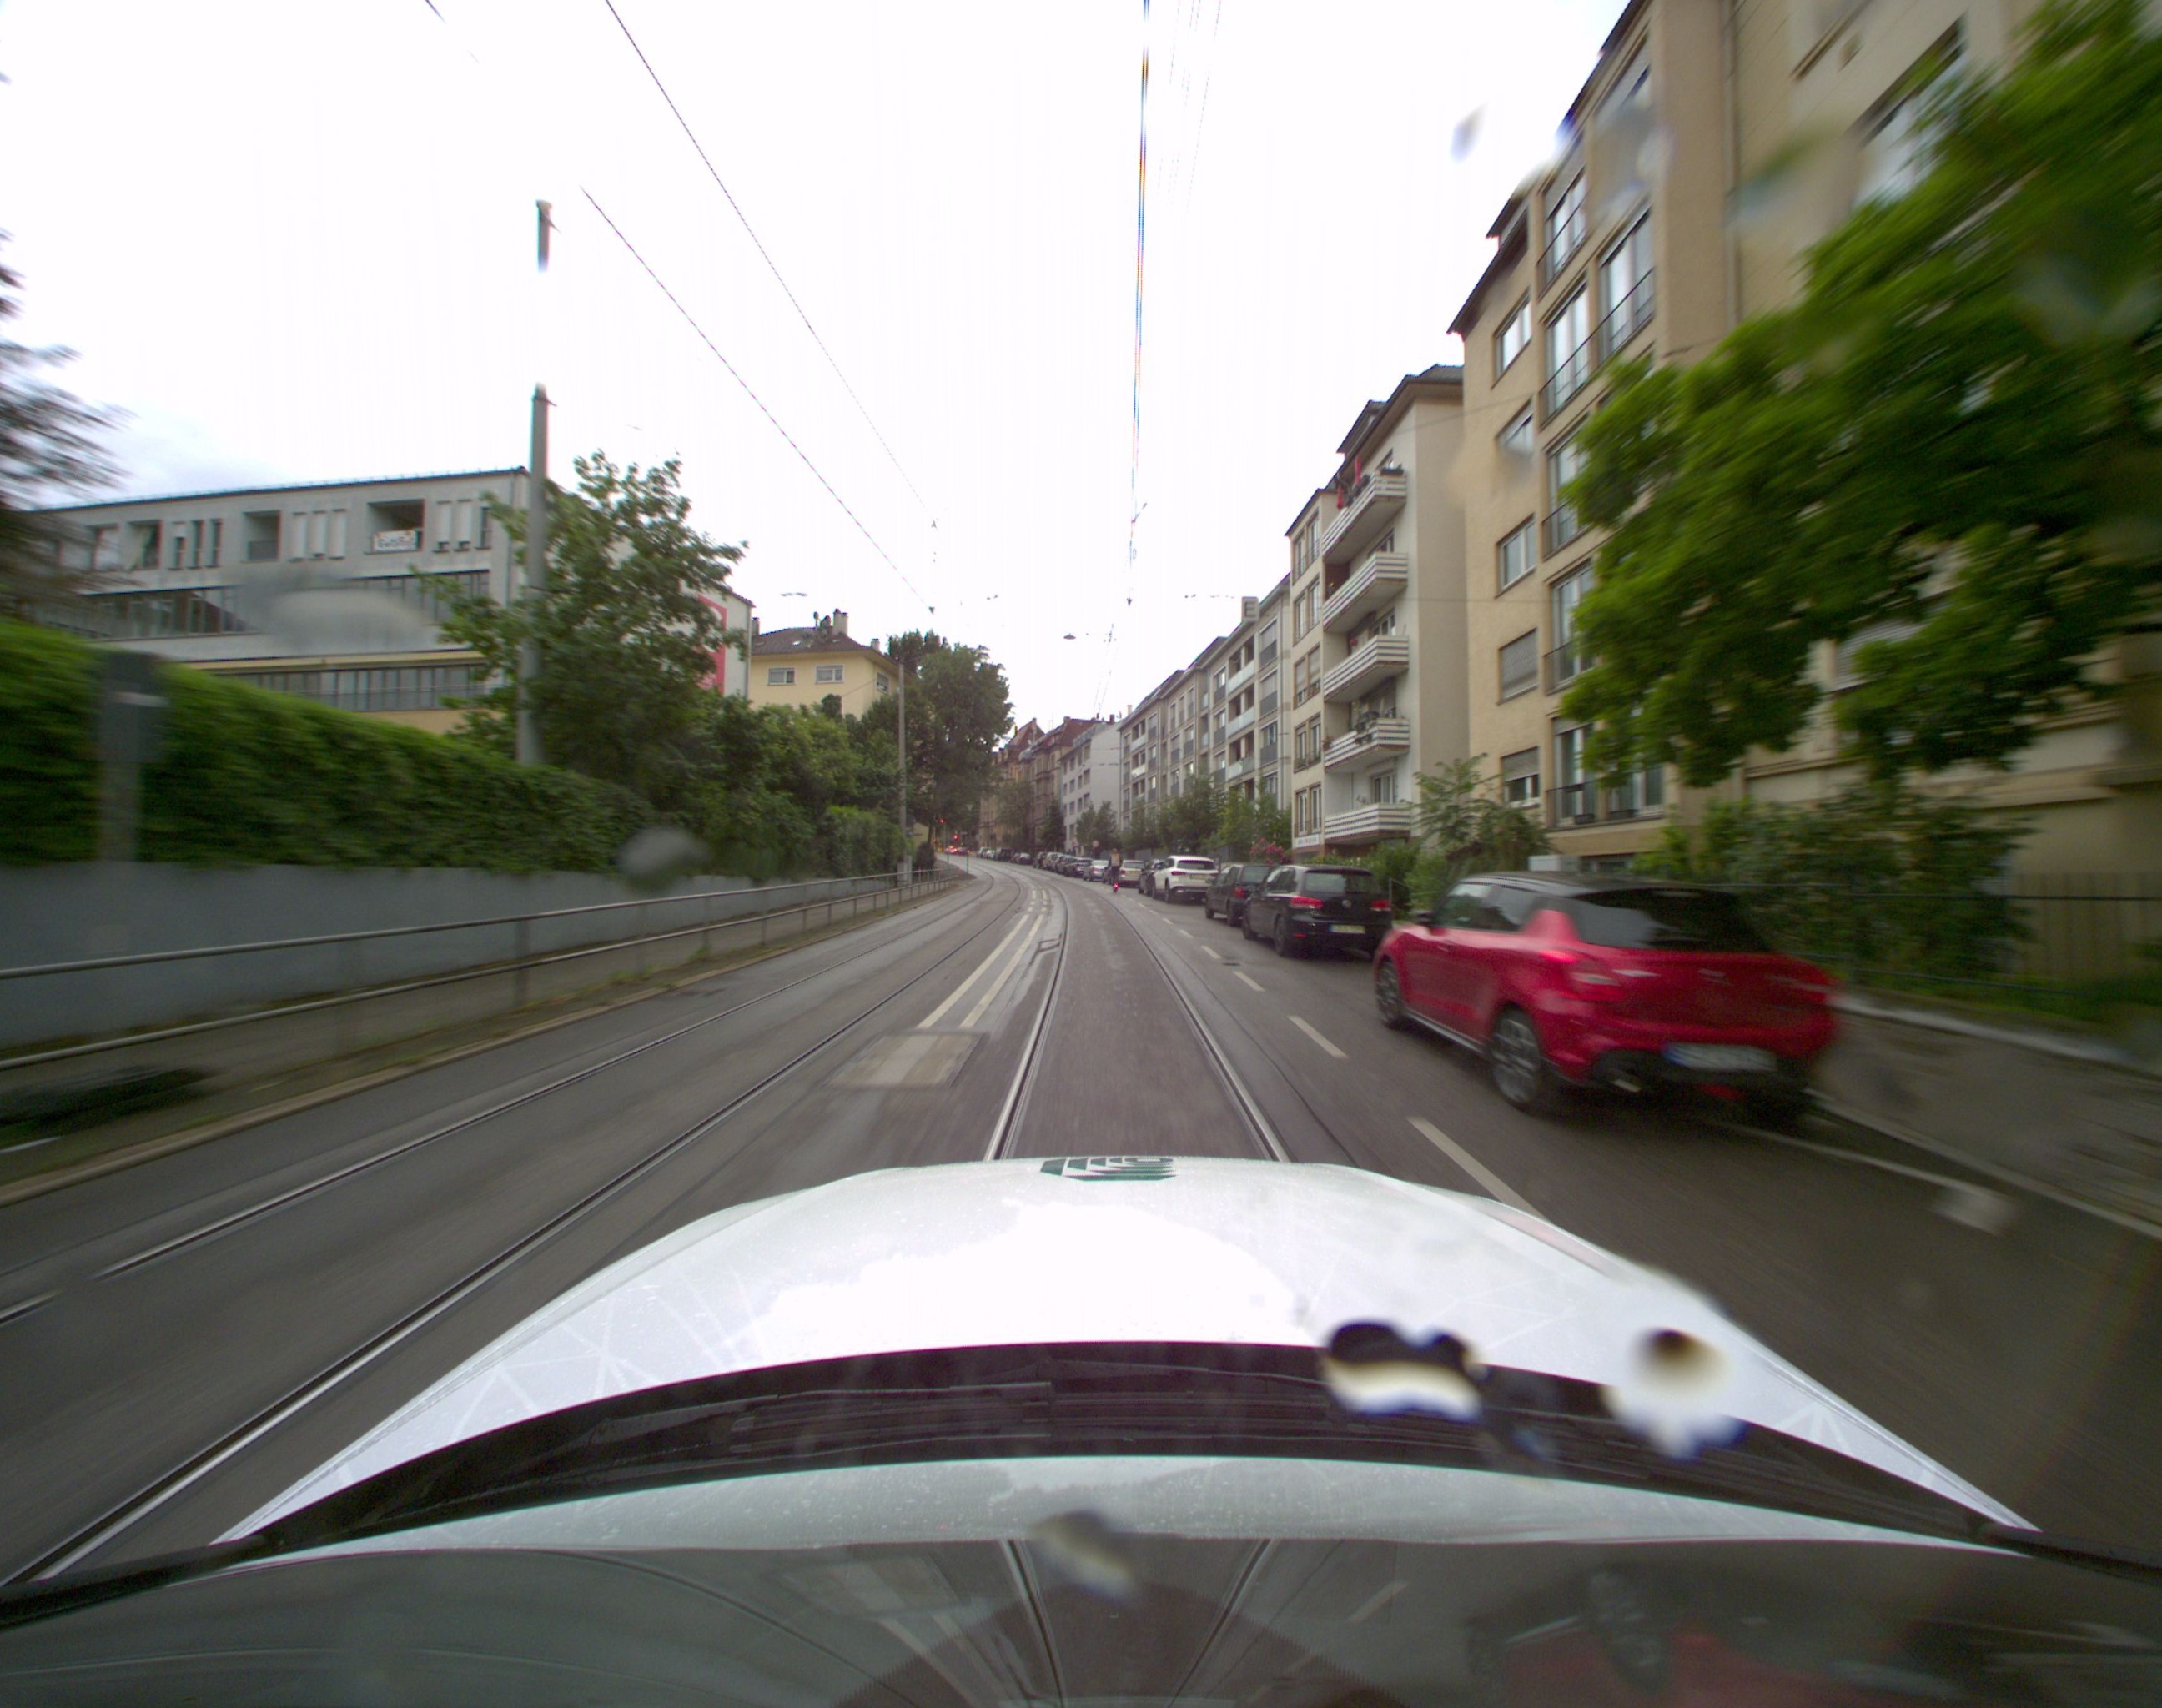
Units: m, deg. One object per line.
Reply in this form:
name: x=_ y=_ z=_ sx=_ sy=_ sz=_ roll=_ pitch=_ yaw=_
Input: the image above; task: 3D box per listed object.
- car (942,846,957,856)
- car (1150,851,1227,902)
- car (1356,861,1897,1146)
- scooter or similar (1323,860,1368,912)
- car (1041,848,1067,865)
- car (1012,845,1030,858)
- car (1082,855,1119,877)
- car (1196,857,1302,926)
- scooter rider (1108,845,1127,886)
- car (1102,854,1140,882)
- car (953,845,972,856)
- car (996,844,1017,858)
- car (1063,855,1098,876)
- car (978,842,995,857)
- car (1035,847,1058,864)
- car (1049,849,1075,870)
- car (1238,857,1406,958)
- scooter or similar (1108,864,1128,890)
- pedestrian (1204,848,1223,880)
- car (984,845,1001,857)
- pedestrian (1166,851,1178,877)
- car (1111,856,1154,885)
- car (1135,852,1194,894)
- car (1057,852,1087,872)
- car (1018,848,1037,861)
car: x=-24.219 y=-0.541 z=149.998 sx=1.862 sy=1.734 sz=4.113 roll=2 pitch=0 yaw=-19
car: x=3.690 y=0.726 z=28.720 sx=1.834 sy=1.573 sz=4.242 roll=2 pitch=0 yaw=-4
car: x=3.563 y=0.811 z=6.282 sx=1.715 sy=1.437 sz=3.843 roll=1 pitch=0 yaw=2
scooter or similar: x=6.668 y=0.784 z=20.586 sx=0.470 sy=1.234 sz=1.192 roll=-2 pitch=1 yaw=-17
car: x=-2.805 y=0.241 z=83.684 sx=1.768 sy=1.684 sz=4.229 roll=2 pitch=0 yaw=-13
car: x=-7.879 y=-0.324 z=106.668 sx=1.652 sy=1.536 sz=3.871 roll=-2 pitch=2 yaw=-14
car: x=1.295 y=0.785 z=56.609 sx=1.761 sy=1.435 sz=4.625 roll=0 pitch=0 yaw=-9
car: x=3.983 y=0.841 z=20.016 sx=1.552 sy=1.437 sz=4.300 roll=1 pitch=0 yaw=-2
scooter rider: x=1.555 y=0.486 z=34.939 sx=0.622 sy=1.705 sz=0.842 roll=3 pitch=0 yaw=-8
car: x=2.381 y=0.820 z=49.396 sx=1.700 sy=1.512 sz=3.705 roll=2 pitch=0 yaw=-7
car: x=-21.122 y=-0.602 z=144.913 sx=2.039 sy=1.734 sz=4.104 roll=1 pitch=0 yaw=-27
car: x=-10.584 y=-0.463 z=115.648 sx=2.032 sy=1.824 sz=4.344 roll=2 pitch=0 yaw=-16
car: x=-0.068 y=0.889 z=66.196 sx=1.770 sy=1.615 sz=4.226 roll=0 pitch=0 yaw=-15
car: x=-15.308 y=-0.767 z=131.504 sx=2.032 sy=2.218 sz=4.117 roll=2 pitch=0 yaw=-16
car: x=-3.788 y=0.142 z=88.274 sx=1.768 sy=1.684 sz=4.230 roll=2 pitch=0 yaw=-12
car: x=-1.848 y=0.504 z=77.600 sx=1.767 sy=1.787 sz=4.233 roll=2 pitch=0 yaw=-11
car: x=3.957 y=0.803 z=14.090 sx=1.678 sy=1.437 sz=4.063 roll=1 pitch=0 yaw=0
scooter or similar: x=1.578 y=0.970 z=35.012 sx=0.513 sy=1.049 sz=2.004 roll=3 pitch=0 yaw=-7
pedestrian: x=6.502 y=0.489 z=39.977 sx=0.569 sy=1.542 sz=0.926 roll=-2 pitch=0 yaw=-11
car: x=-13.801 y=-0.501 z=126.752 sx=2.030 sy=1.824 sz=4.120 roll=2 pitch=0 yaw=-14
pedestrian: x=5.474 y=0.610 z=49.223 sx=0.568 sy=1.542 sz=0.650 roll=-2 pitch=0 yaw=-3
car: x=2.774 y=0.875 z=44.890 sx=1.659 sy=1.471 sz=4.499 roll=2 pitch=-1 yaw=-5
car: x=3.389 y=0.740 z=33.824 sx=1.697 sy=1.512 sz=4.566 roll=3 pitch=0 yaw=-3
car: x=-0.861 y=0.658 z=72.335 sx=1.768 sy=1.615 sz=4.230 roll=2 pitch=0 yaw=-13
car: x=-6.743 y=0.104 z=101.814 sx=1.768 sy=1.518 sz=4.122 roll=2 pitch=0 yaw=-12
